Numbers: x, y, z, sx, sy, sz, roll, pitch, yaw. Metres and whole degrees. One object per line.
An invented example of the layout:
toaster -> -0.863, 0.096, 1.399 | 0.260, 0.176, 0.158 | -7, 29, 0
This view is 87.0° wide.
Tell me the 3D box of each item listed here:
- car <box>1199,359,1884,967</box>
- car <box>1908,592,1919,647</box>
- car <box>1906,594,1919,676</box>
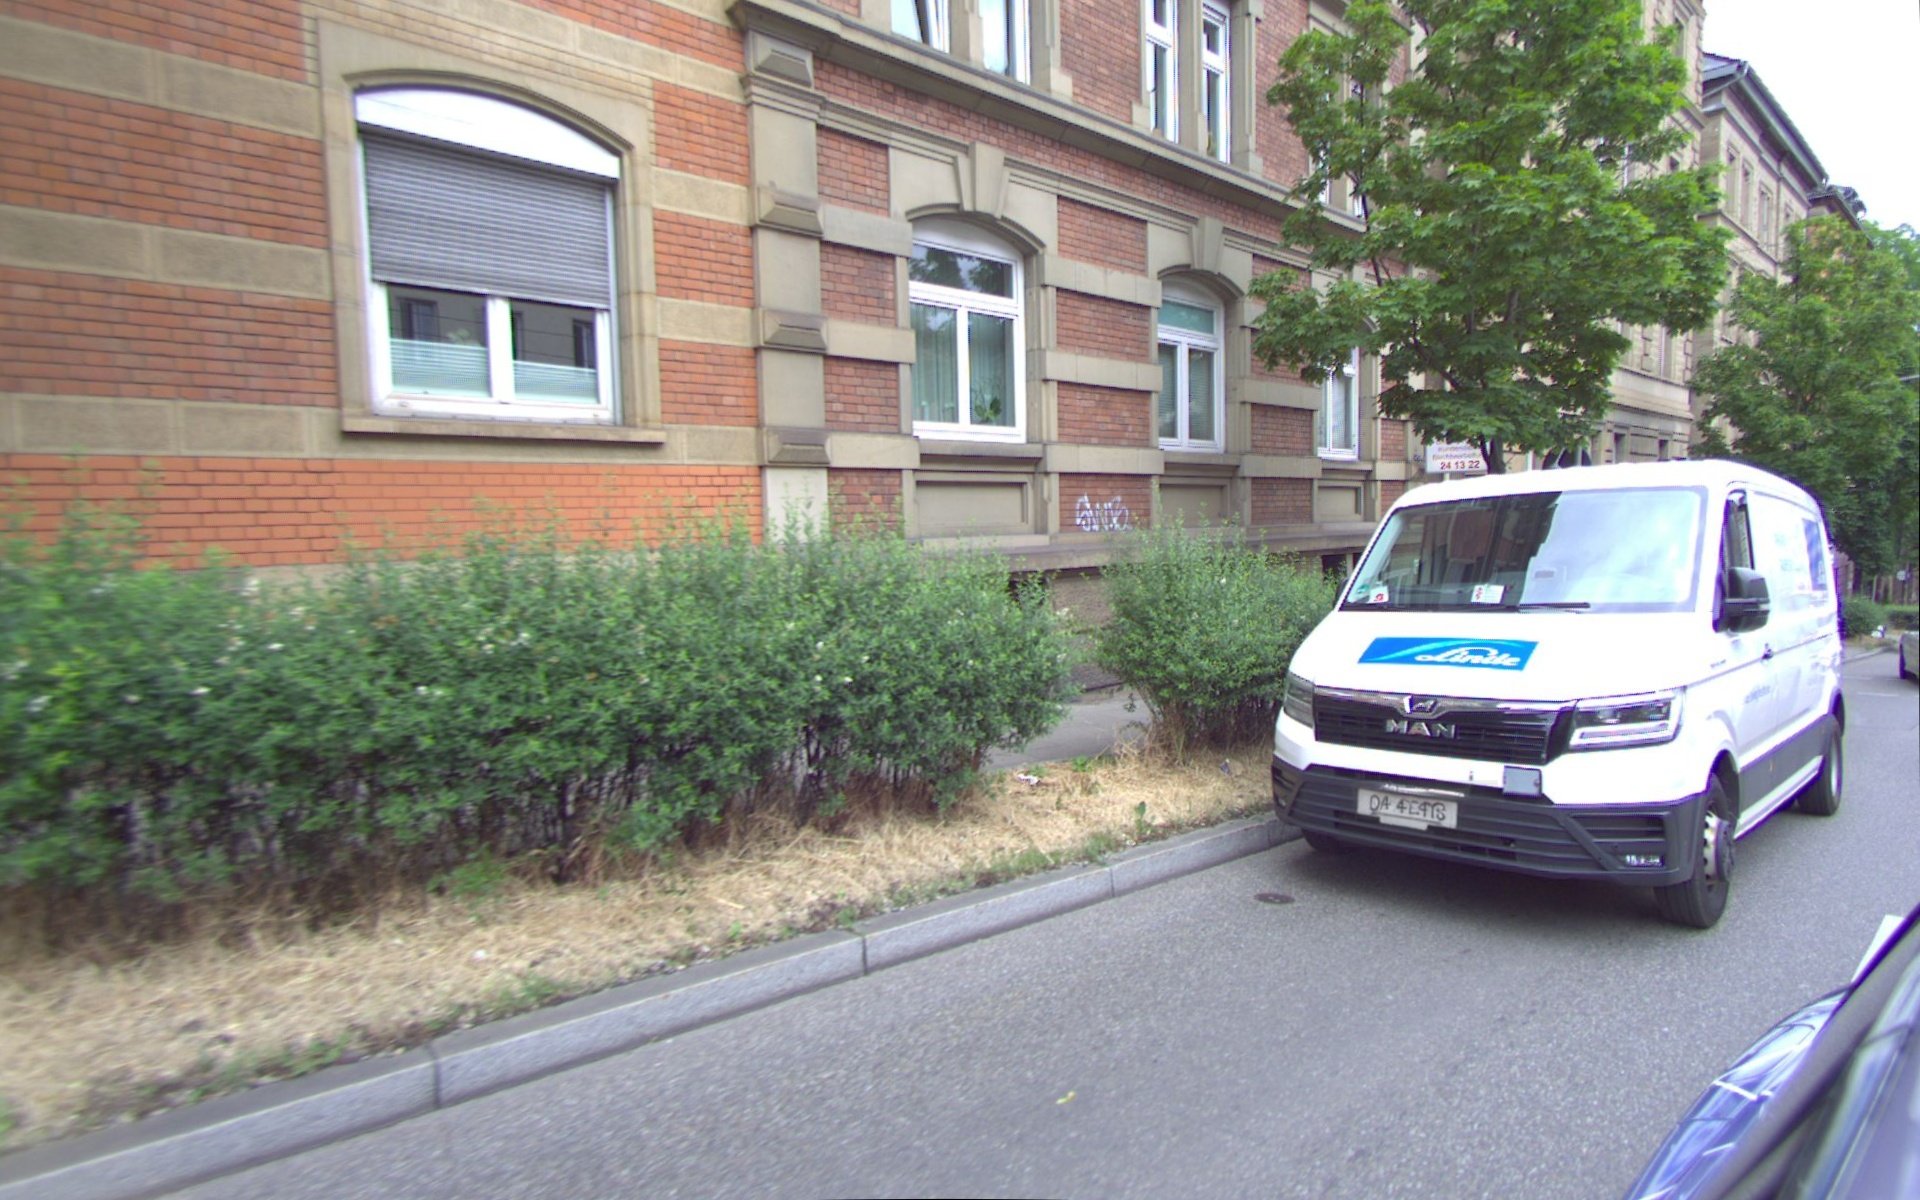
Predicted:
car -> 4.228, 0.219, 6.688 | 5.866, 2.316, 2.260 | 0, 1, -43
car -> 28.592, 0.559, 29.043 | 3.791, 1.493, 1.693 | -1, 2, -42
car -> 17.364, 0.620, 16.990 | 1.798, 1.417, 3.945 | 1, 1, 38
